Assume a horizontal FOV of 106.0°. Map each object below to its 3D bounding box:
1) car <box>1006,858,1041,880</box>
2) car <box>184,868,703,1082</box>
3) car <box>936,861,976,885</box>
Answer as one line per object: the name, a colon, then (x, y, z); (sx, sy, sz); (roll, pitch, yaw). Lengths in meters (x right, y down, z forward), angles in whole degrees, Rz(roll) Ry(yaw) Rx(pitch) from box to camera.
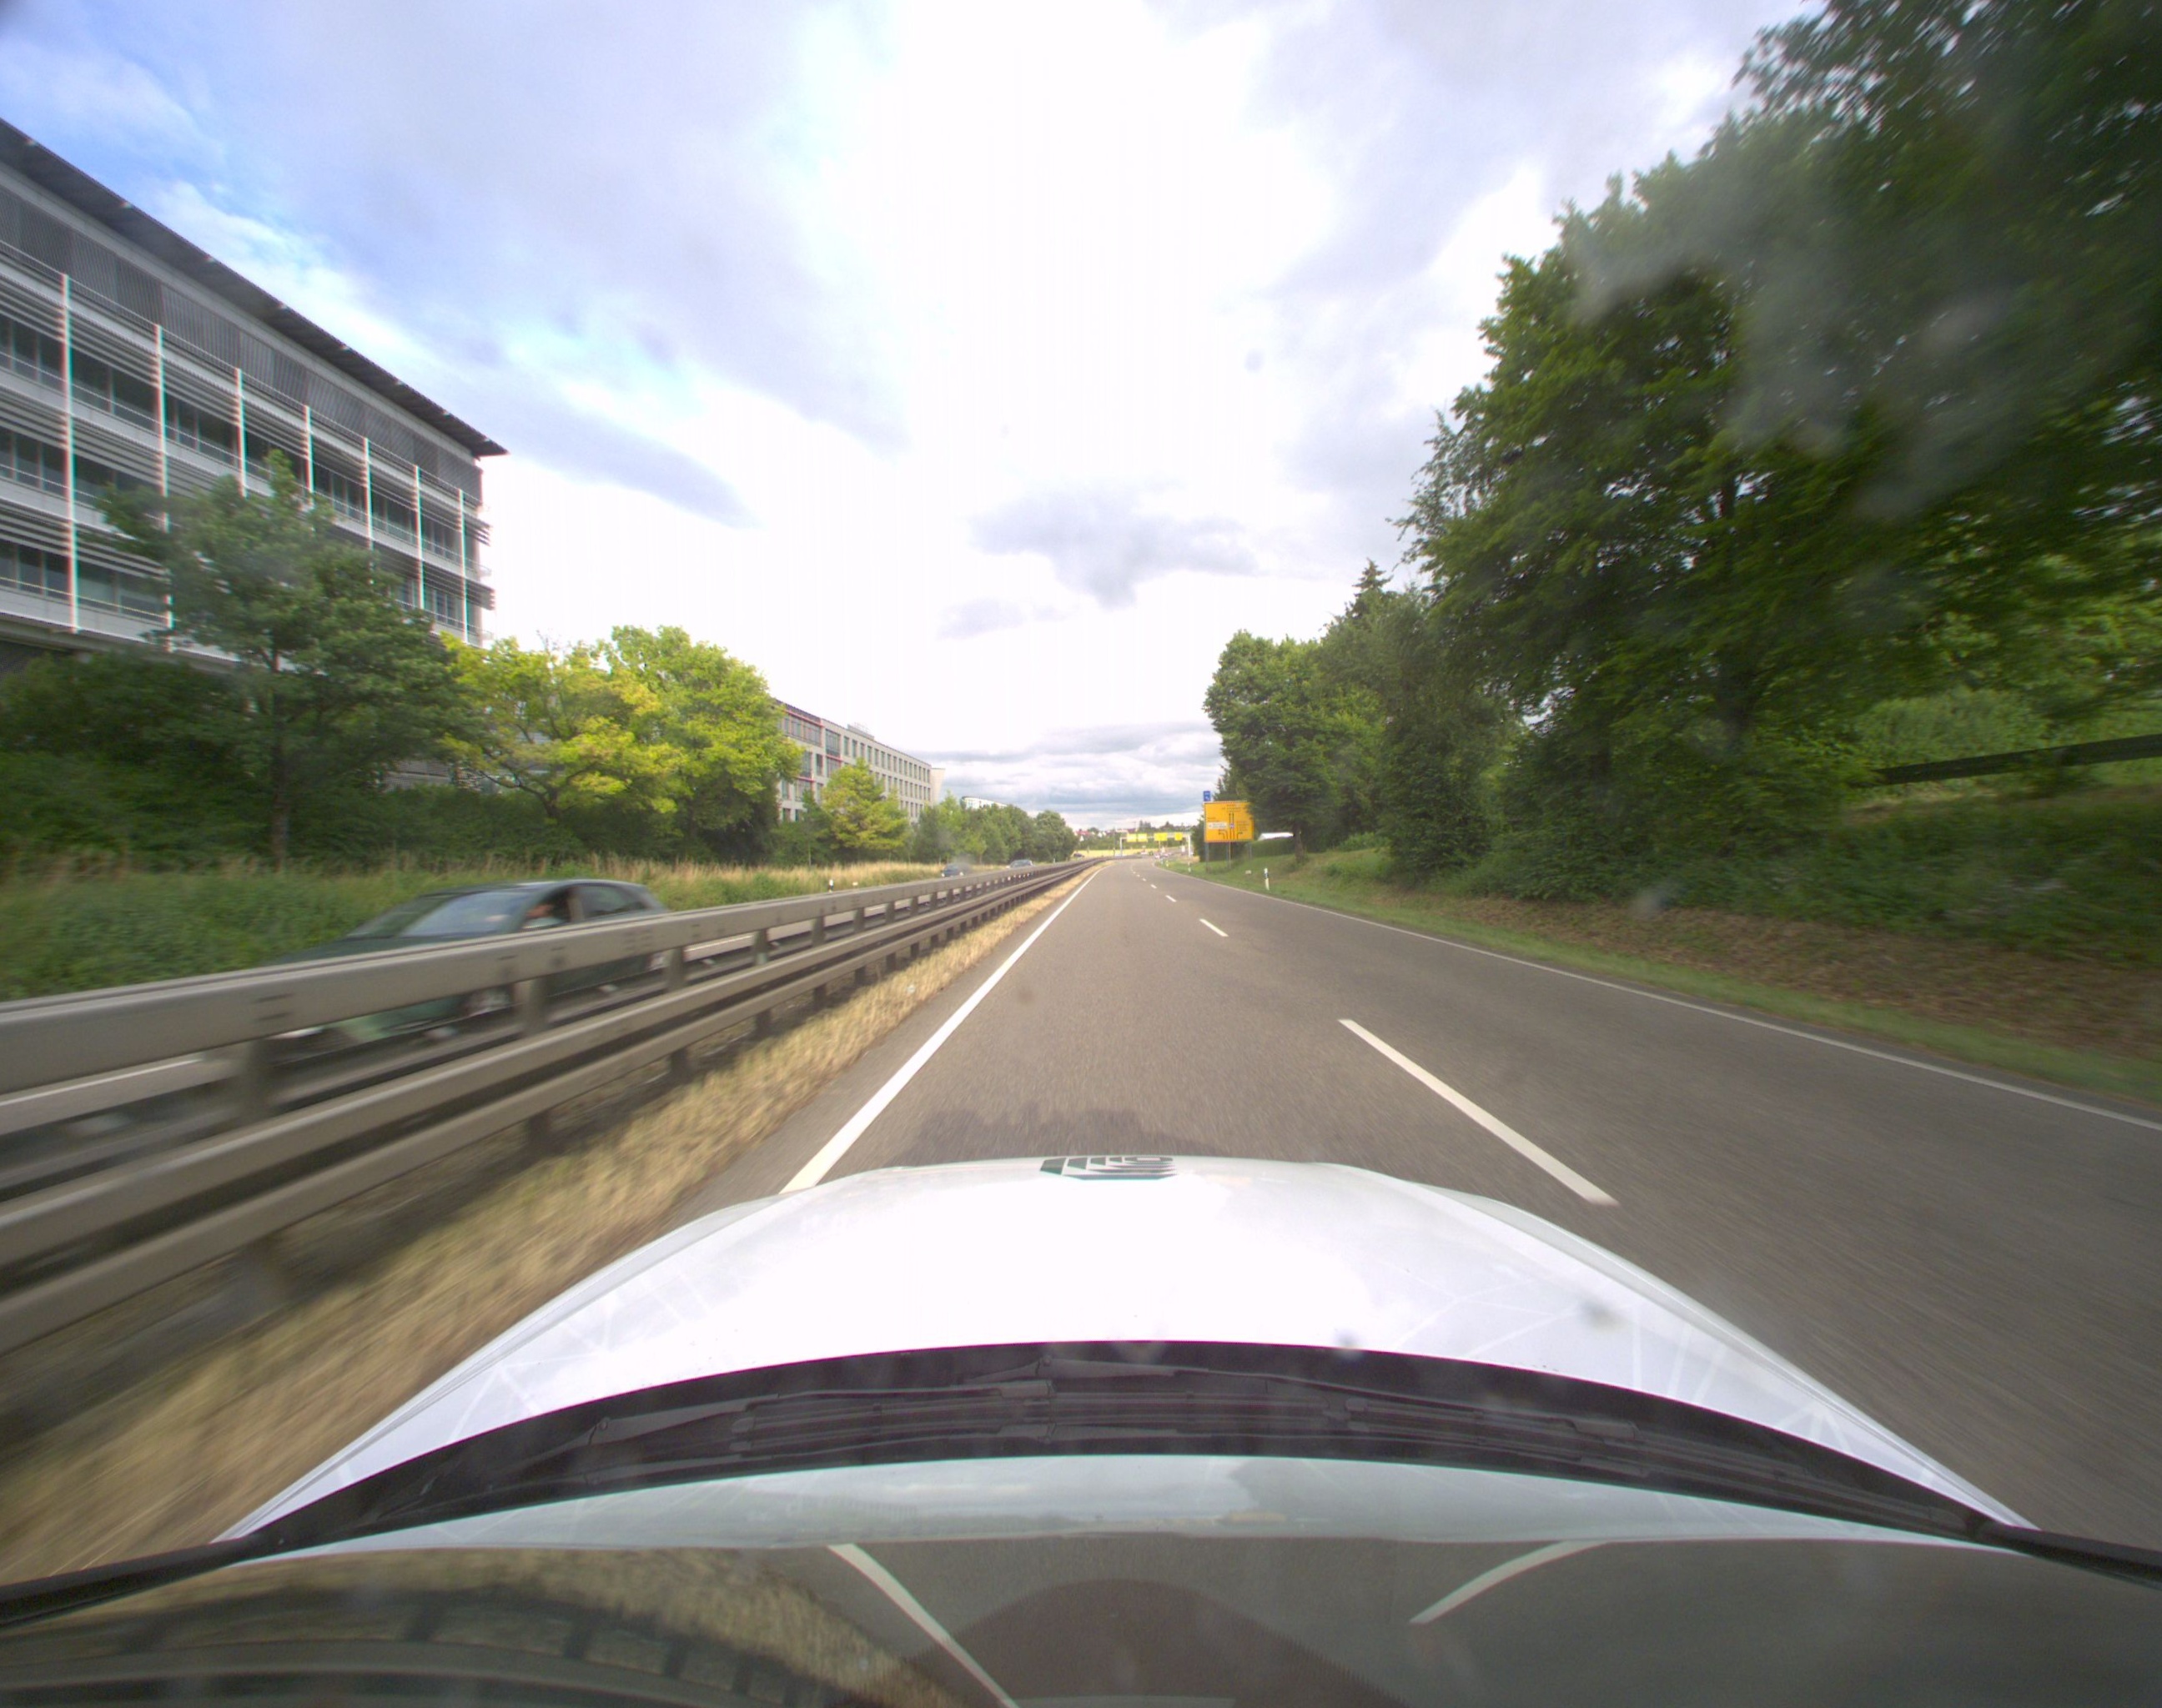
car: (-3.785, 0.974, 54.582); (1.828, 1.378, 4.568); (-2, 0, 2)
car: (-5.794, 0.947, 8.272); (1.736, 1.458, 4.313); (-3, 0, 1)
car: (-8.305, 1.243, 54.408); (1.749, 1.422, 4.570); (-1, 0, 3)
